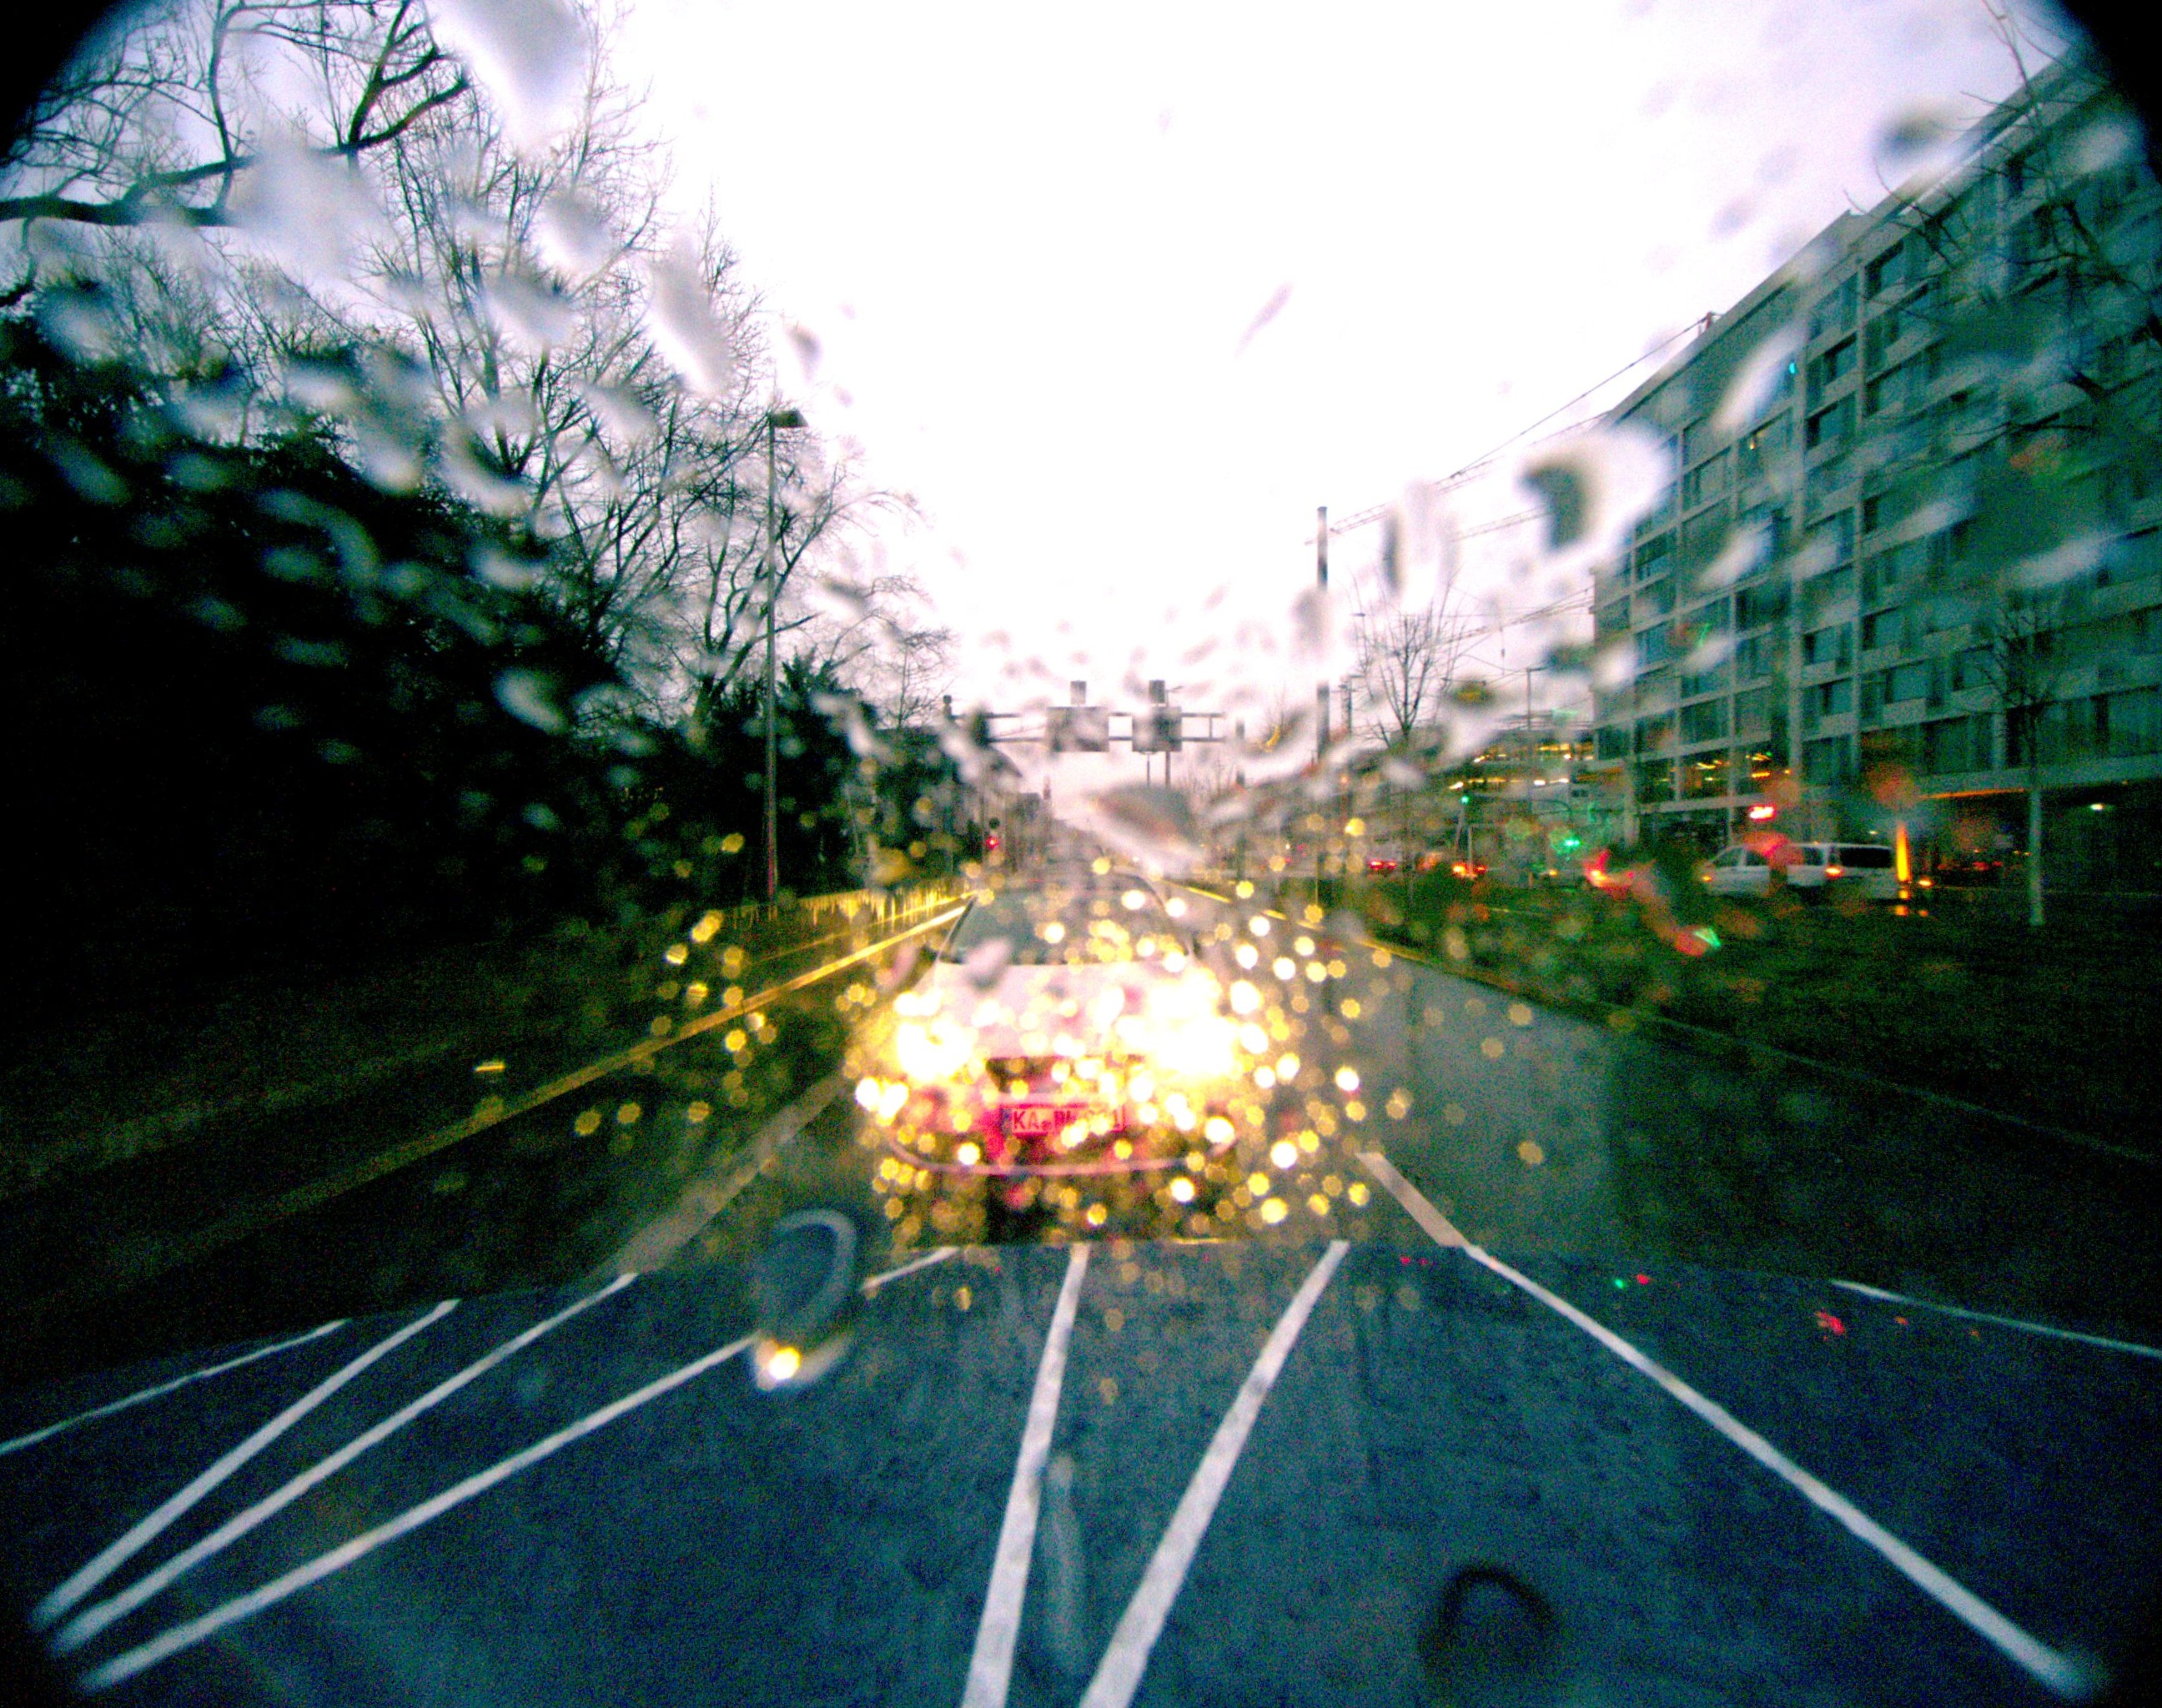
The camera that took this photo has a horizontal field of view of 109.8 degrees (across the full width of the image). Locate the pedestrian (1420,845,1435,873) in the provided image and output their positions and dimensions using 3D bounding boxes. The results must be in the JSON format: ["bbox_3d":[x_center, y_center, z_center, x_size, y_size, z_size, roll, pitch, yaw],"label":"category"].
[{"bbox_3d":[23.089,0.344,50.610,0.709,1.794,0.770,-2,1,12],"label":"pedestrian"}]

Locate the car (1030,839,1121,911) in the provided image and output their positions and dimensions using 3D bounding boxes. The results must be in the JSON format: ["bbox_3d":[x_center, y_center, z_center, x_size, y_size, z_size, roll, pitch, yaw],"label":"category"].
[{"bbox_3d":[-0.100,0.476,20.062,2.073,1.618,4.268,-2,1,1],"label":"car"}]

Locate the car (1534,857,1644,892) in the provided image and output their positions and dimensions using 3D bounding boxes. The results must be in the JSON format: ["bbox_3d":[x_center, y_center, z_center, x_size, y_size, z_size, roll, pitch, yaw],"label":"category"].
[{"bbox_3d":[20.393,0.799,30.707,1.816,1.300,4.000,0,0,1],"label":"car"}]

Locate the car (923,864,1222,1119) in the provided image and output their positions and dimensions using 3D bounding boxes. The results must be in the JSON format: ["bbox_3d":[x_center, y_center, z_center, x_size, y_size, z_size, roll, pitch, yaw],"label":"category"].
[{"bbox_3d":[-0.024,0.900,6.891,1.886,1.552,4.171,0,0,1],"label":"car"}]

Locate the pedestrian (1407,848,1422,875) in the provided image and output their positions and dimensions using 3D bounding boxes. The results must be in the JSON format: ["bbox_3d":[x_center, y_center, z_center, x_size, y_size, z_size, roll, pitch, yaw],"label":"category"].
[{"bbox_3d":[22.397,0.482,51.019,0.709,1.794,0.770,-2,1,11],"label":"pedestrian"}]

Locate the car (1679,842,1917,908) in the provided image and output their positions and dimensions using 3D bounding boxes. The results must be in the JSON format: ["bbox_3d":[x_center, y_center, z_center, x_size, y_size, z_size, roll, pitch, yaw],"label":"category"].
[{"bbox_3d":[20.055,0.517,21.675,2.086,1.659,5.043,0,0,1],"label":"car"}]

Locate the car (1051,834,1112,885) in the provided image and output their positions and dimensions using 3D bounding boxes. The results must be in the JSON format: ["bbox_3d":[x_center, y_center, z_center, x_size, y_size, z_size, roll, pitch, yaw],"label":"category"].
[{"bbox_3d":[0.039,0.166,27.514,1.998,1.618,4.268,-2,0,0],"label":"car"}]

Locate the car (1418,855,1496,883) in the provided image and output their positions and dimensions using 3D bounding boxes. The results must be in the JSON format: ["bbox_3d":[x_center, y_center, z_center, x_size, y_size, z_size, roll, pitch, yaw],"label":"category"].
[{"bbox_3d":[20.416,0.783,41.483,2.111,1.392,4.257,0,0,-1],"label":"car"}]

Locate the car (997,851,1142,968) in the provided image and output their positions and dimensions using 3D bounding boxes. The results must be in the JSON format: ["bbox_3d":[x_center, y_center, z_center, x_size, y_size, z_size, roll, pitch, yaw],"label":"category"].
[{"bbox_3d":[-0.213,0.801,13.280,2.073,1.618,4.267,-2,1,-1],"label":"car"}]

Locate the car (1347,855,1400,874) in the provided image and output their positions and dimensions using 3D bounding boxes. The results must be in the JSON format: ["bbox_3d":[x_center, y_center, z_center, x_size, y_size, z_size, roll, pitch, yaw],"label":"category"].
[{"bbox_3d":[20.181,0.721,52.653,1.817,1.267,3.997,0,0,-6],"label":"car"}]
